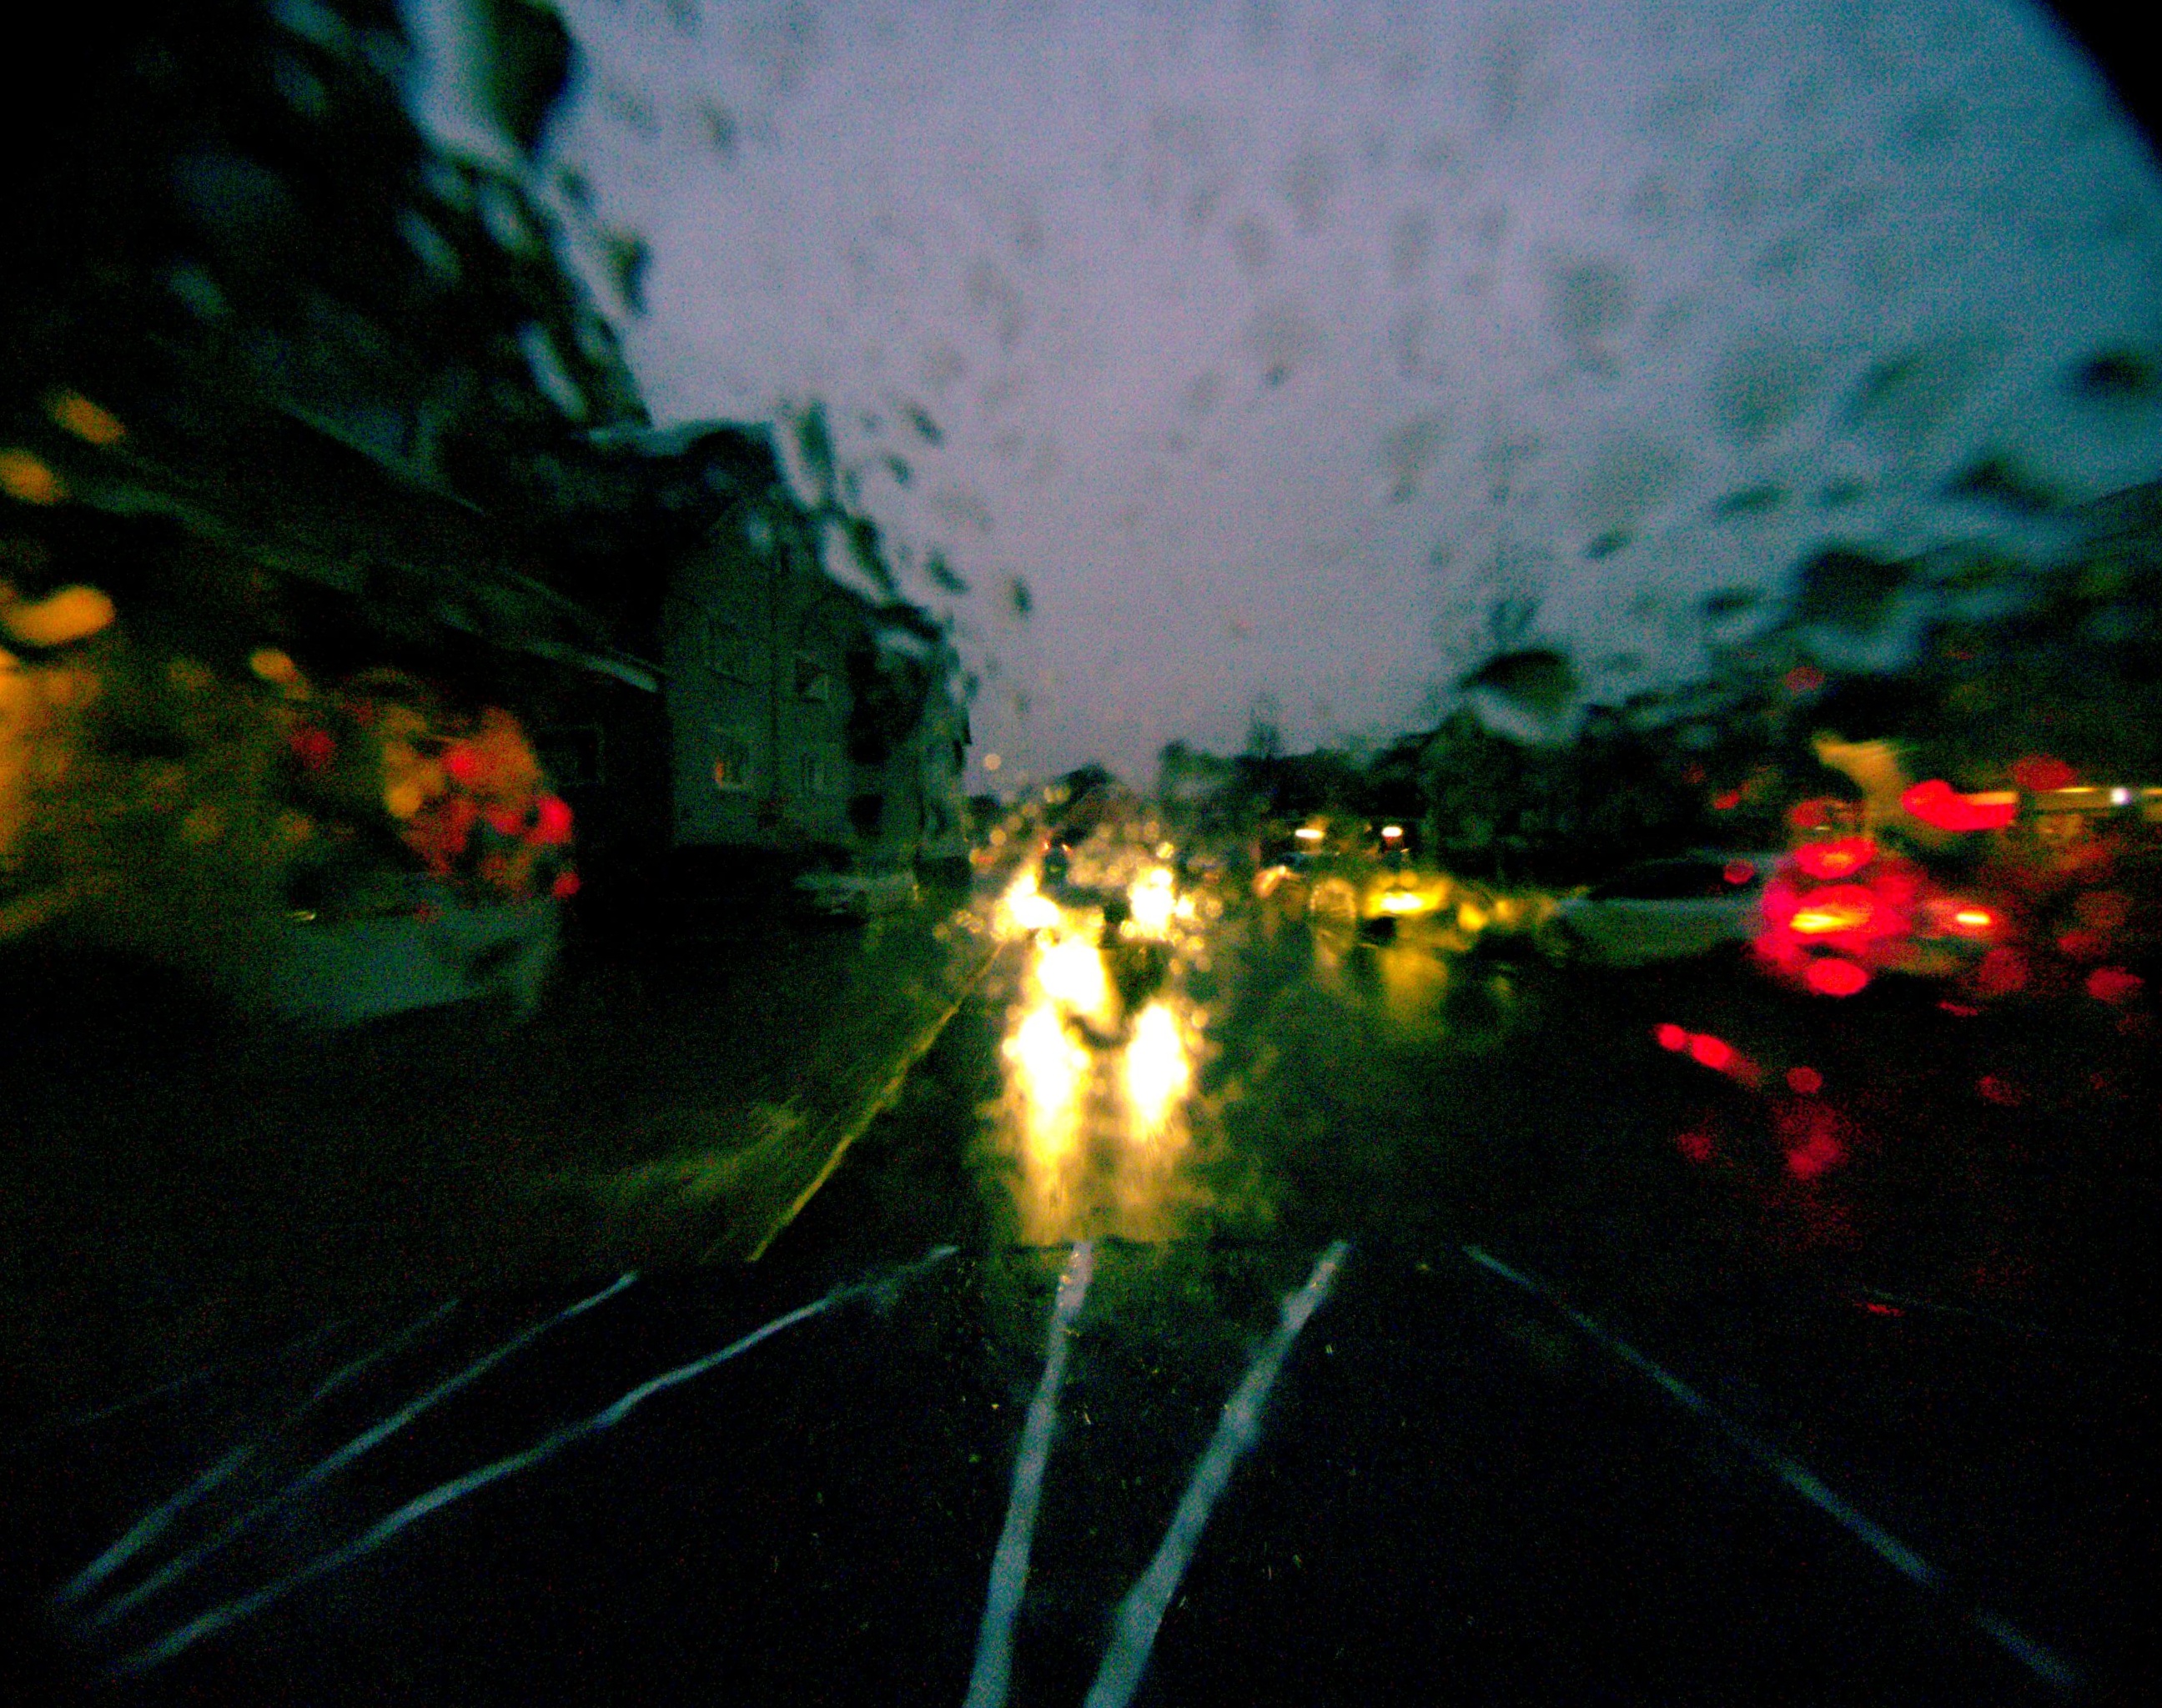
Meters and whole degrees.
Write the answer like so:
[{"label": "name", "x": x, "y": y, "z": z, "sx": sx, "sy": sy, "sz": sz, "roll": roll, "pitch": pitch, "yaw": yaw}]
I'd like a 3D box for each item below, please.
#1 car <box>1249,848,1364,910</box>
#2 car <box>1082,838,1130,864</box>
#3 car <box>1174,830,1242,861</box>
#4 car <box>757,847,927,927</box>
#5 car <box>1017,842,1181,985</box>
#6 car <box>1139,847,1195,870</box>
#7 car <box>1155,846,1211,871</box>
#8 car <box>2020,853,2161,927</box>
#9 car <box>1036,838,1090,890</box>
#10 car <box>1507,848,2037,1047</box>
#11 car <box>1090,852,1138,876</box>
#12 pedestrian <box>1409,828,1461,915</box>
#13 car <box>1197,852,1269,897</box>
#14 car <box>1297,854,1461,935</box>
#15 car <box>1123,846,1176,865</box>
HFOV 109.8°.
[{"label": "car", "x": 6.259, "y": 0.635, "z": 21.548, "sx": 1.880, "sy": 1.526, "sz": 3.670, "roll": -2, "pitch": 1, "yaw": -5}, {"label": "car", "x": 2.140, "y": -0.256, "z": 65.529, "sx": 3.997, "sy": 2.002, "sz": 2.000, "roll": -2, "pitch": 1, "yaw": 0}, {"label": "car", "x": 7.787, "y": -0.524, "z": 46.632, "sx": 3.993, "sy": 1.753, "sz": 1.435, "roll": -2, "pitch": 1, "yaw": 13}, {"label": "car", "x": -5.364, "y": 0.658, "z": 17.864, "sx": 1.933, "sy": 1.477, "sz": 4.698, "roll": -2, "pitch": 2, "yaw": 8}, {"label": "car", "x": 0.201, "y": 0.732, "z": 11.578, "sx": 1.999, "sy": 1.720, "sz": 3.999, "roll": -2, "pitch": 1, "yaw": -1}, {"label": "car", "x": 6.441, "y": 0.352, "z": 56.689, "sx": 3.994, "sy": 1.538, "sz": 2.001, "roll": -2, "pitch": 1, "yaw": 9}, {"label": "car", "x": 7.240, "y": 0.305, "z": 54.034, "sx": 3.839, "sy": 1.537, "sz": 2.001, "roll": -2, "pitch": 1, "yaw": 7}, {"label": "car", "x": 23.677, "y": 0.763, "z": 16.278, "sx": 2.000, "sy": 1.555, "sz": 3.996, "roll": 0, "pitch": 1, "yaw": -8}, {"label": "car", "x": -0.856, "y": 0.391, "z": 32.664, "sx": 1.999, "sy": 2.002, "sz": 3.998, "roll": -2, "pitch": 1, "yaw": -5}, {"label": "car", "x": 6.622, "y": 0.716, "z": 8.069, "sx": 1.789, "sy": 1.480, "sz": 4.181, "roll": -2, "pitch": 1, "yaw": -1}, {"label": "car", "x": 2.124, "y": 0.609, "z": 50.029, "sx": 1.984, "sy": 1.438, "sz": 3.908, "roll": -2, "pitch": 1, "yaw": -15}, {"label": "pedestrian", "x": 8.358, "y": 0.405, "z": 17.968, "sx": 0.902, "sy": 2.002, "sz": 0.791, "roll": -1, "pitch": 1, "yaw": 9}, {"label": "car", "x": 5.716, "y": 0.720, "z": 29.108, "sx": 1.840, "sy": 1.526, "sz": 4.138, "roll": -2, "pitch": 1, "yaw": -1}, {"label": "car", "x": 6.105, "y": 0.747, "z": 16.159, "sx": 1.698, "sy": 1.423, "sz": 4.376, "roll": -2, "pitch": 0, "yaw": 0}, {"label": "car", "x": 5.342, "y": 0.129, "z": 59.629, "sx": 3.996, "sy": 1.291, "sz": 2.000, "roll": -2, "pitch": 1, "yaw": 4}]
